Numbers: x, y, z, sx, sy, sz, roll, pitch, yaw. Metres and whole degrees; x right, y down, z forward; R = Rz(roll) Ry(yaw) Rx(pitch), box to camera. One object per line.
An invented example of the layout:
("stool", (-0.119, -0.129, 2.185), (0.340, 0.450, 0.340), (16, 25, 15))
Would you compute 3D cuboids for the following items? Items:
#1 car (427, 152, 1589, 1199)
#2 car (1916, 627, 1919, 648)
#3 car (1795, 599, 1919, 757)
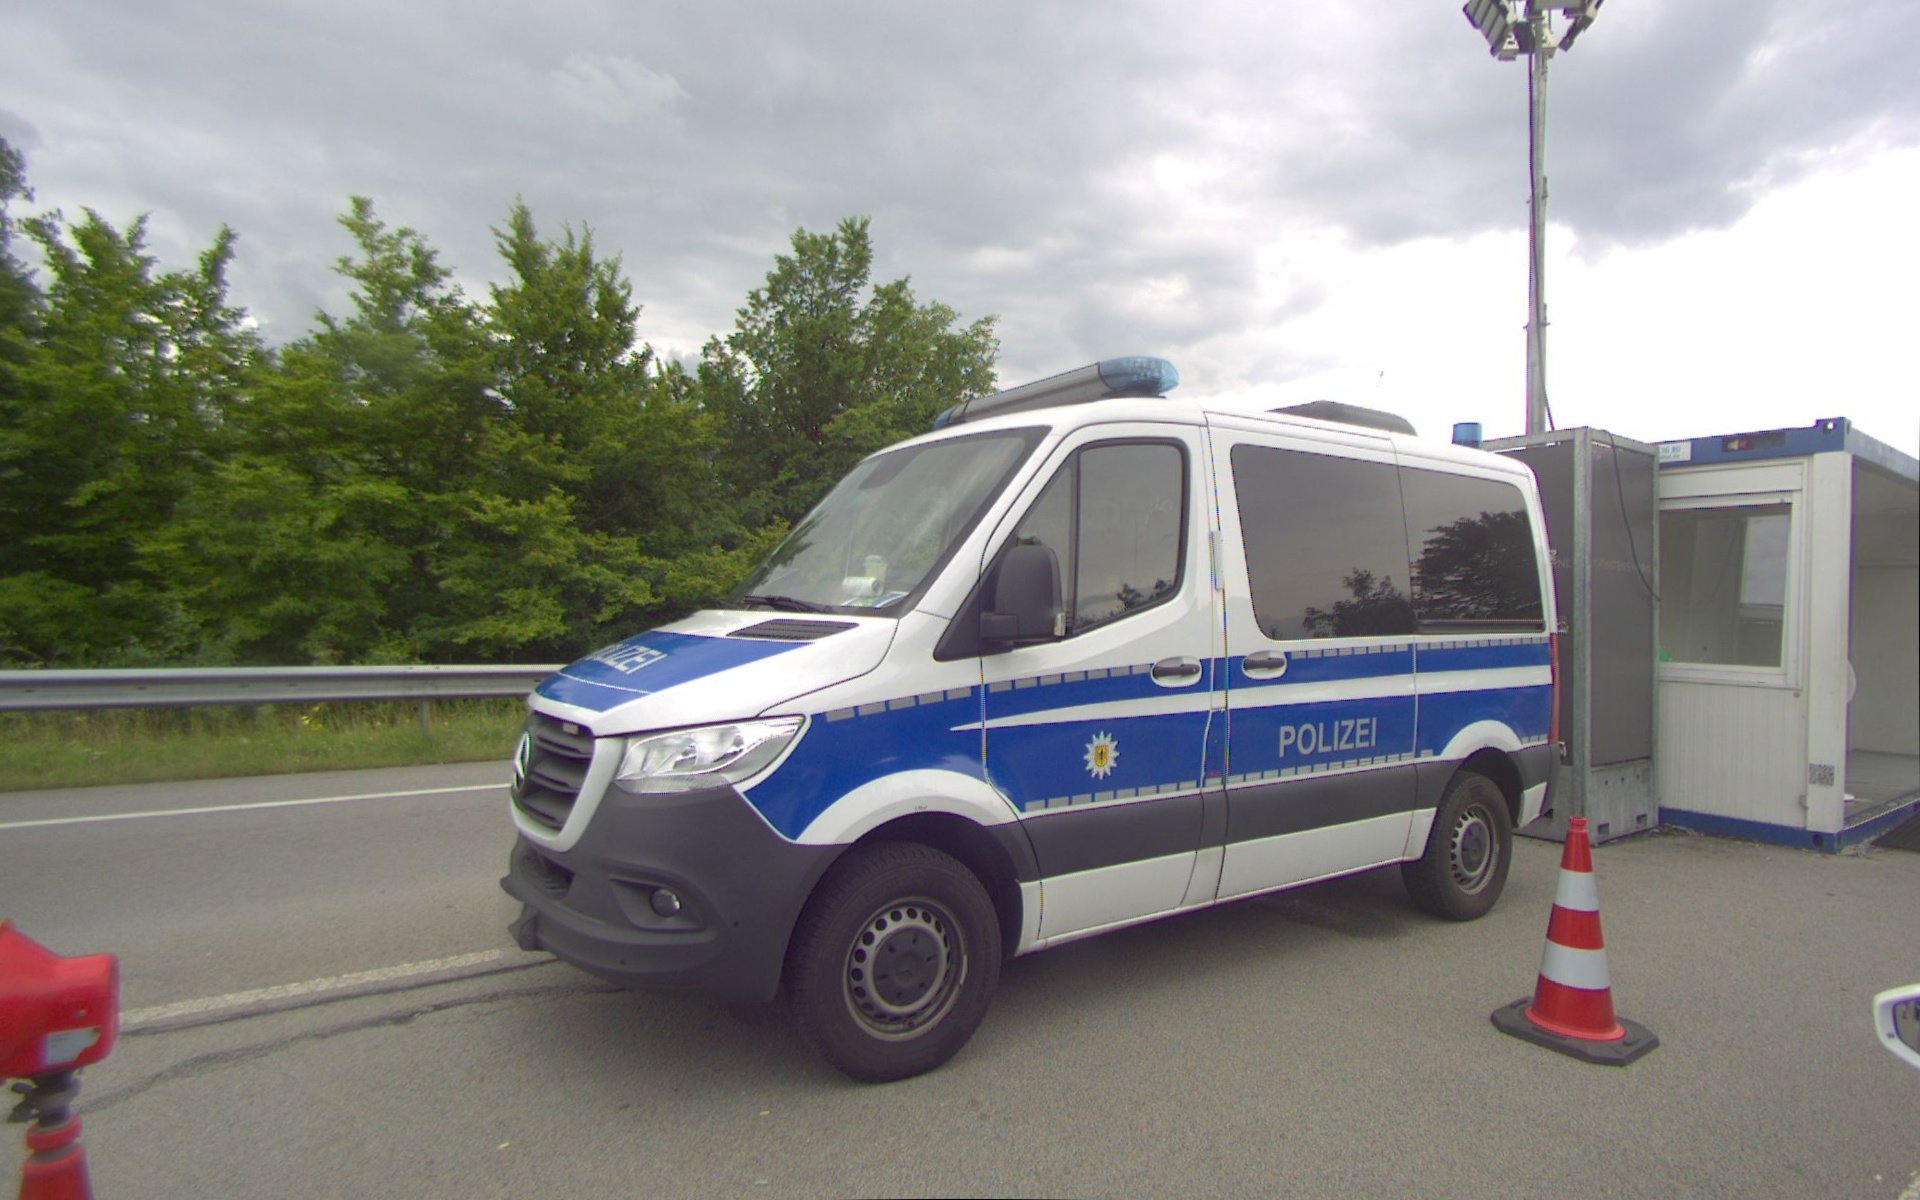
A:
("car", (0.580, 0.239, 4.682), (5.224, 2.496, 2.017), (1, 0, -34))
("car", (71.972, 2.777, 74.223), (4.229, 1.518, 1.837), (2, 0, -45))
("car", (12.332, 0.919, 12.585), (3.967, 1.767, 1.857), (1, 0, -34))
